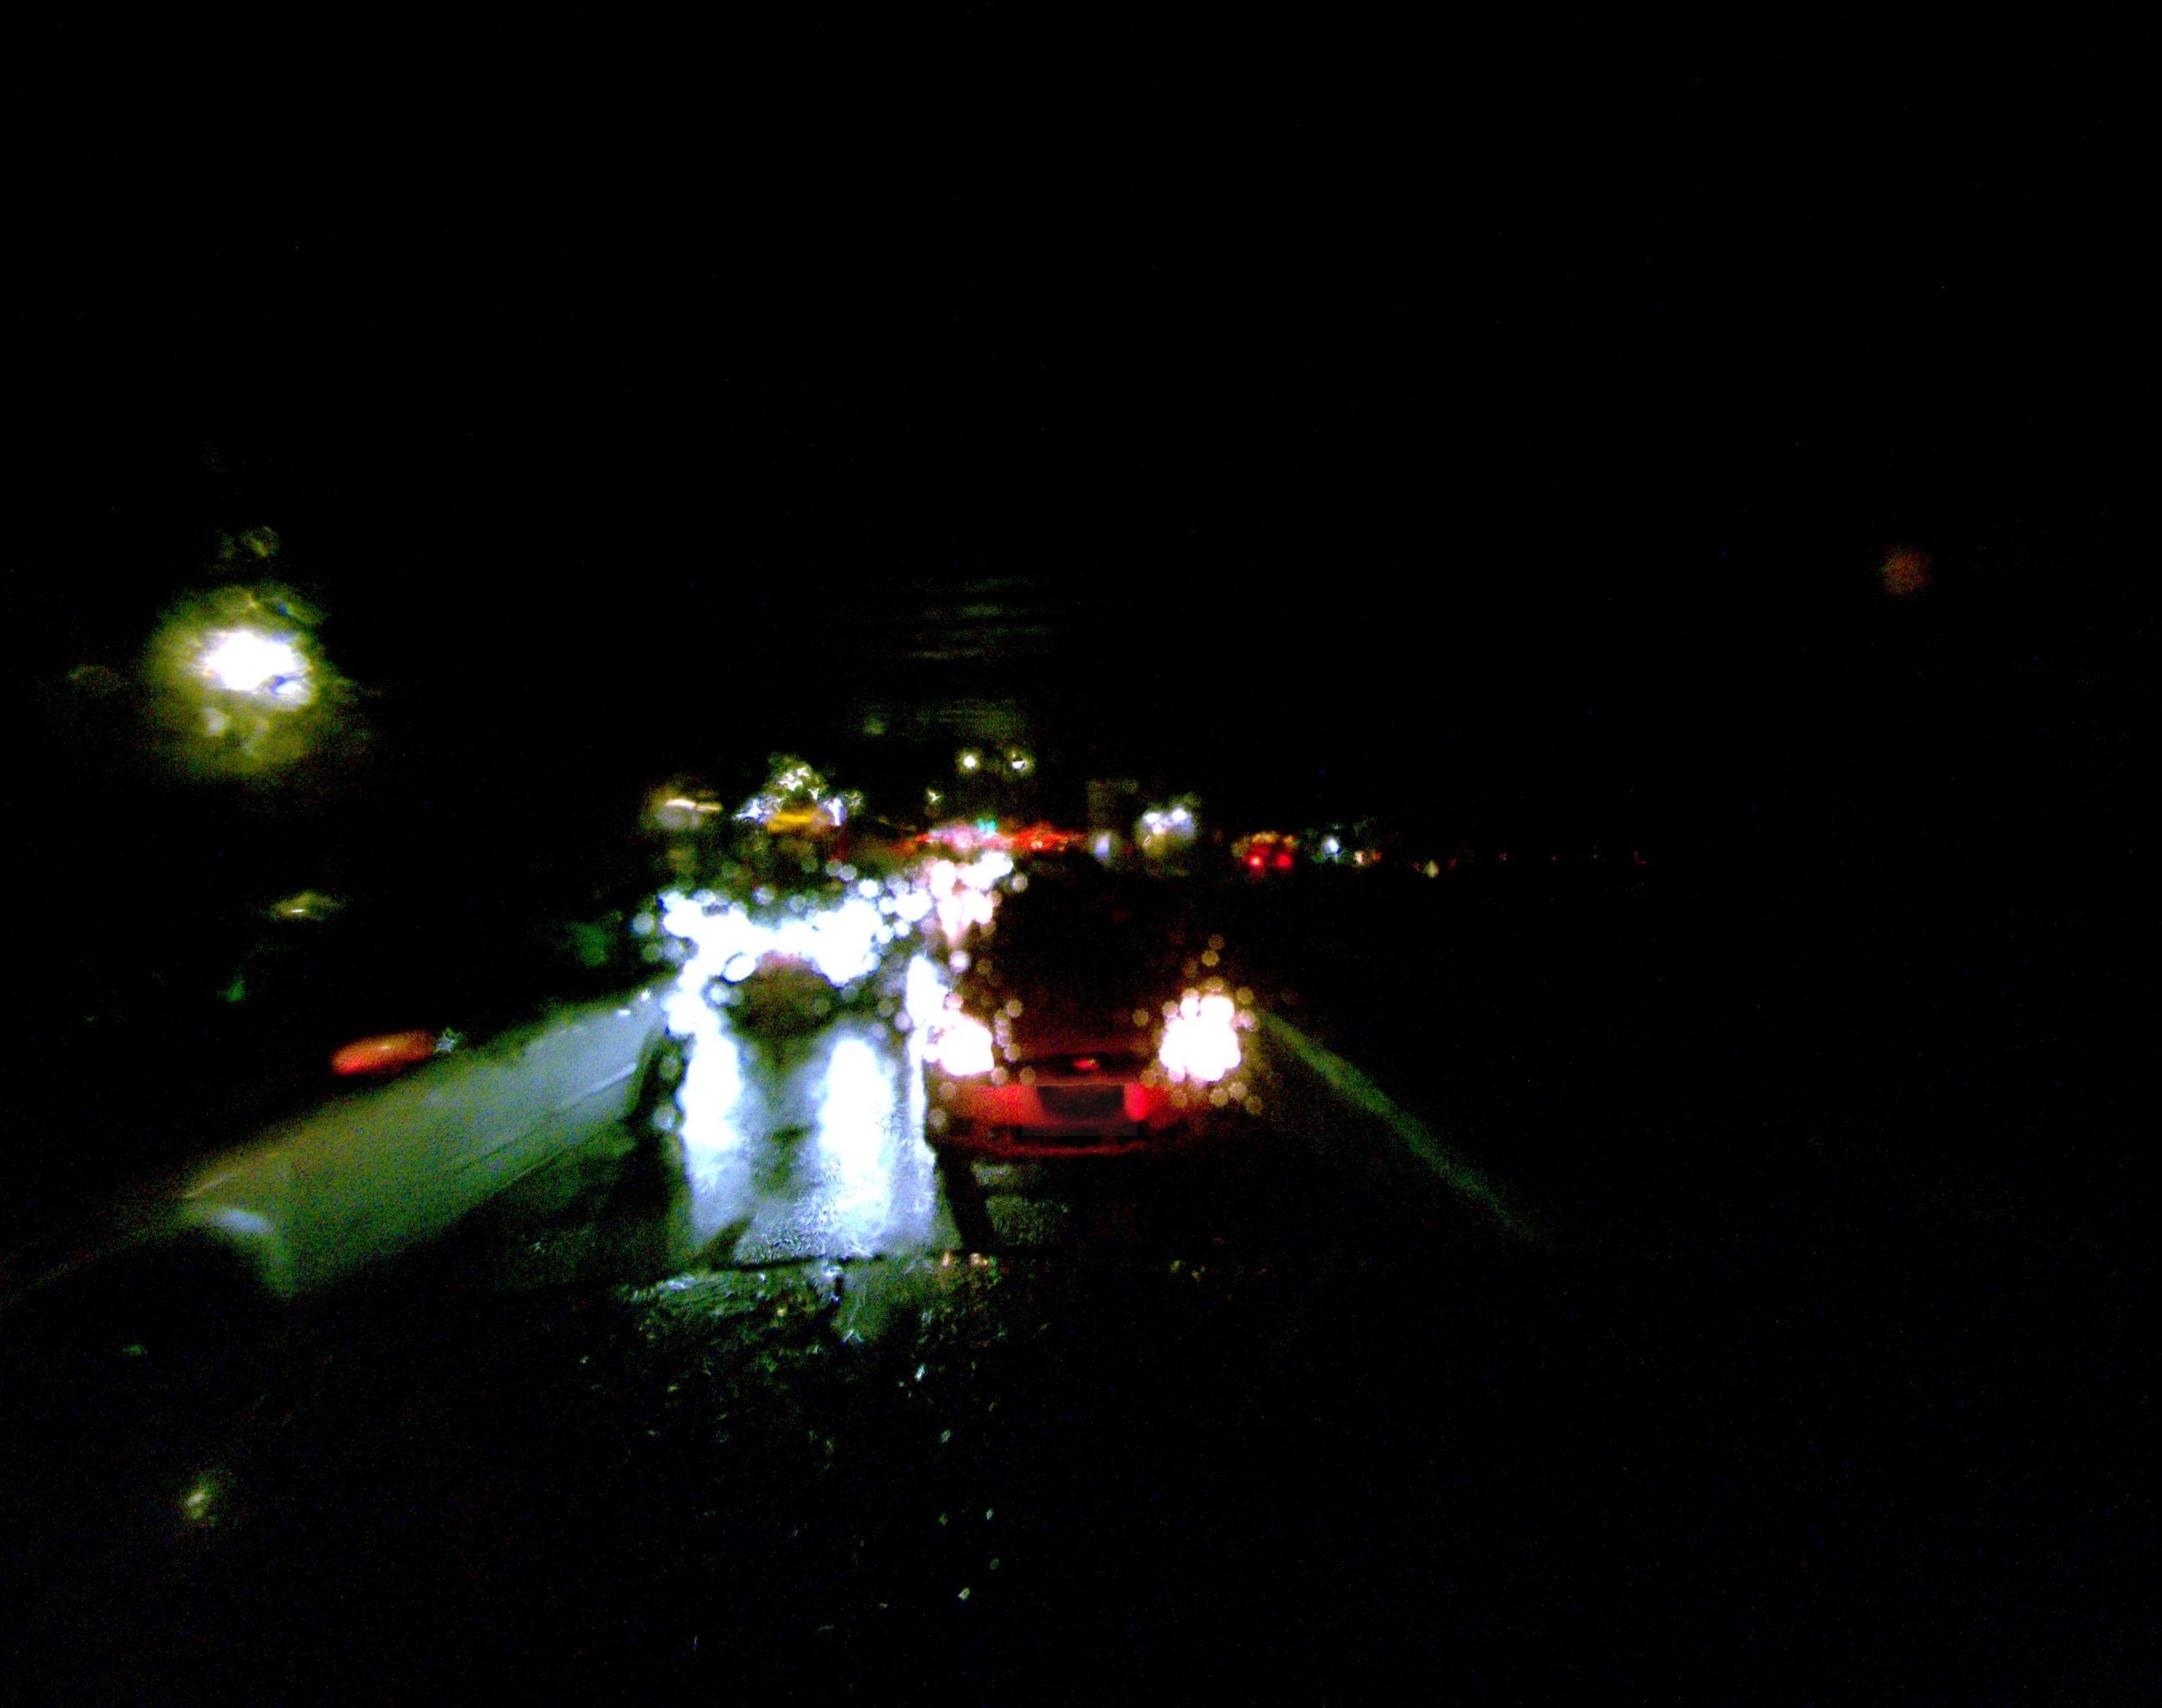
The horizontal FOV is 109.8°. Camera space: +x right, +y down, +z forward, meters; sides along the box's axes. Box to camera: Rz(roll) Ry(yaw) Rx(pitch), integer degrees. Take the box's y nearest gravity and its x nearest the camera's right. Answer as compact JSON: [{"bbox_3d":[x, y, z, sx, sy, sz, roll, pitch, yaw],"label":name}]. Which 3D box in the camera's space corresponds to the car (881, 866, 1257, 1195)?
[{"bbox_3d":[-0.073,0.864,5.548,1.755,1.438,3.973,0,1,0],"label":"car"}]

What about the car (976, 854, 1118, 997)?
[{"bbox_3d":[-0.472,0.871,11.213,1.724,1.695,3.972,0,1,-2],"label":"car"}]

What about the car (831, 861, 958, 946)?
[{"bbox_3d":[-3.707,0.926,15.804,1.698,1.455,3.973,0,1,0],"label":"car"}]

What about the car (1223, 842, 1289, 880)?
[{"bbox_3d":[8.262,0.312,36.272,1.755,1.699,4.496,0,1,-6],"label":"car"}]

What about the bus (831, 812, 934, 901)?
[{"bbox_3d":[-8.301,0.034,33.057,2.742,3.219,9.693,-2,1,-5],"label":"bus"}]

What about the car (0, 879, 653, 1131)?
[{"bbox_3d":[-6.446,1.096,7.522,1.724,1.478,4.786,-1,1,0],"label":"car"}]

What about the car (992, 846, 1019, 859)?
[{"bbox_3d":[-9.193,-0.216,92.352,2.044,1.478,4.489,0,1,-23],"label":"car"}]

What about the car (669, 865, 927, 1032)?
[{"bbox_3d":[-3.327,1.003,9.900,1.724,1.478,4.161,-4,1,0],"label":"car"}]

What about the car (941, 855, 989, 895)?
[{"bbox_3d":[-4.674,0.794,31.069,1.725,1.478,4.159,0,1,-6],"label":"car"}]

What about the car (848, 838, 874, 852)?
[{"bbox_3d":[-23.751,-0.941,81.973,1.712,1.382,3.990,-2,1,-32],"label":"car"}]

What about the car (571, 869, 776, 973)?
[{"bbox_3d":[-7.149,1.074,13.870,1.725,1.478,4.160,0,1,-4],"label":"car"}]

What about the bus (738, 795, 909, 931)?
[{"bbox_3d":[-7.375,0.153,23.432,2.742,3.258,9.693,-2,1,-5],"label":"bus"}]

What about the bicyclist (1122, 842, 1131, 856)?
[{"bbox_3d":[4.554,-0.488,75.809,0.629,1.427,1.187,-1,1,-11],"label":"bicyclist"}]

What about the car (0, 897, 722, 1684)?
[{"bbox_3d":[-3.165,1.037,2.771,1.724,1.438,4.161,-1,1,0],"label":"car"}]

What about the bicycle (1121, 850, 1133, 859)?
[{"bbox_3d":[4.552,0.037,75.826,0.629,0.899,2.211,-1,1,-11],"label":"bicycle"}]

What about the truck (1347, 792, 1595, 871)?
[{"bbox_3d":[24.115,-1.339,47.654,13.671,4.416,2.743,-1,1,7],"label":"truck"}]

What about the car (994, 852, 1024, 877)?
[{"bbox_3d":[-4.484,0.629,47.090,1.725,1.478,4.159,0,1,-6],"label":"car"}]
